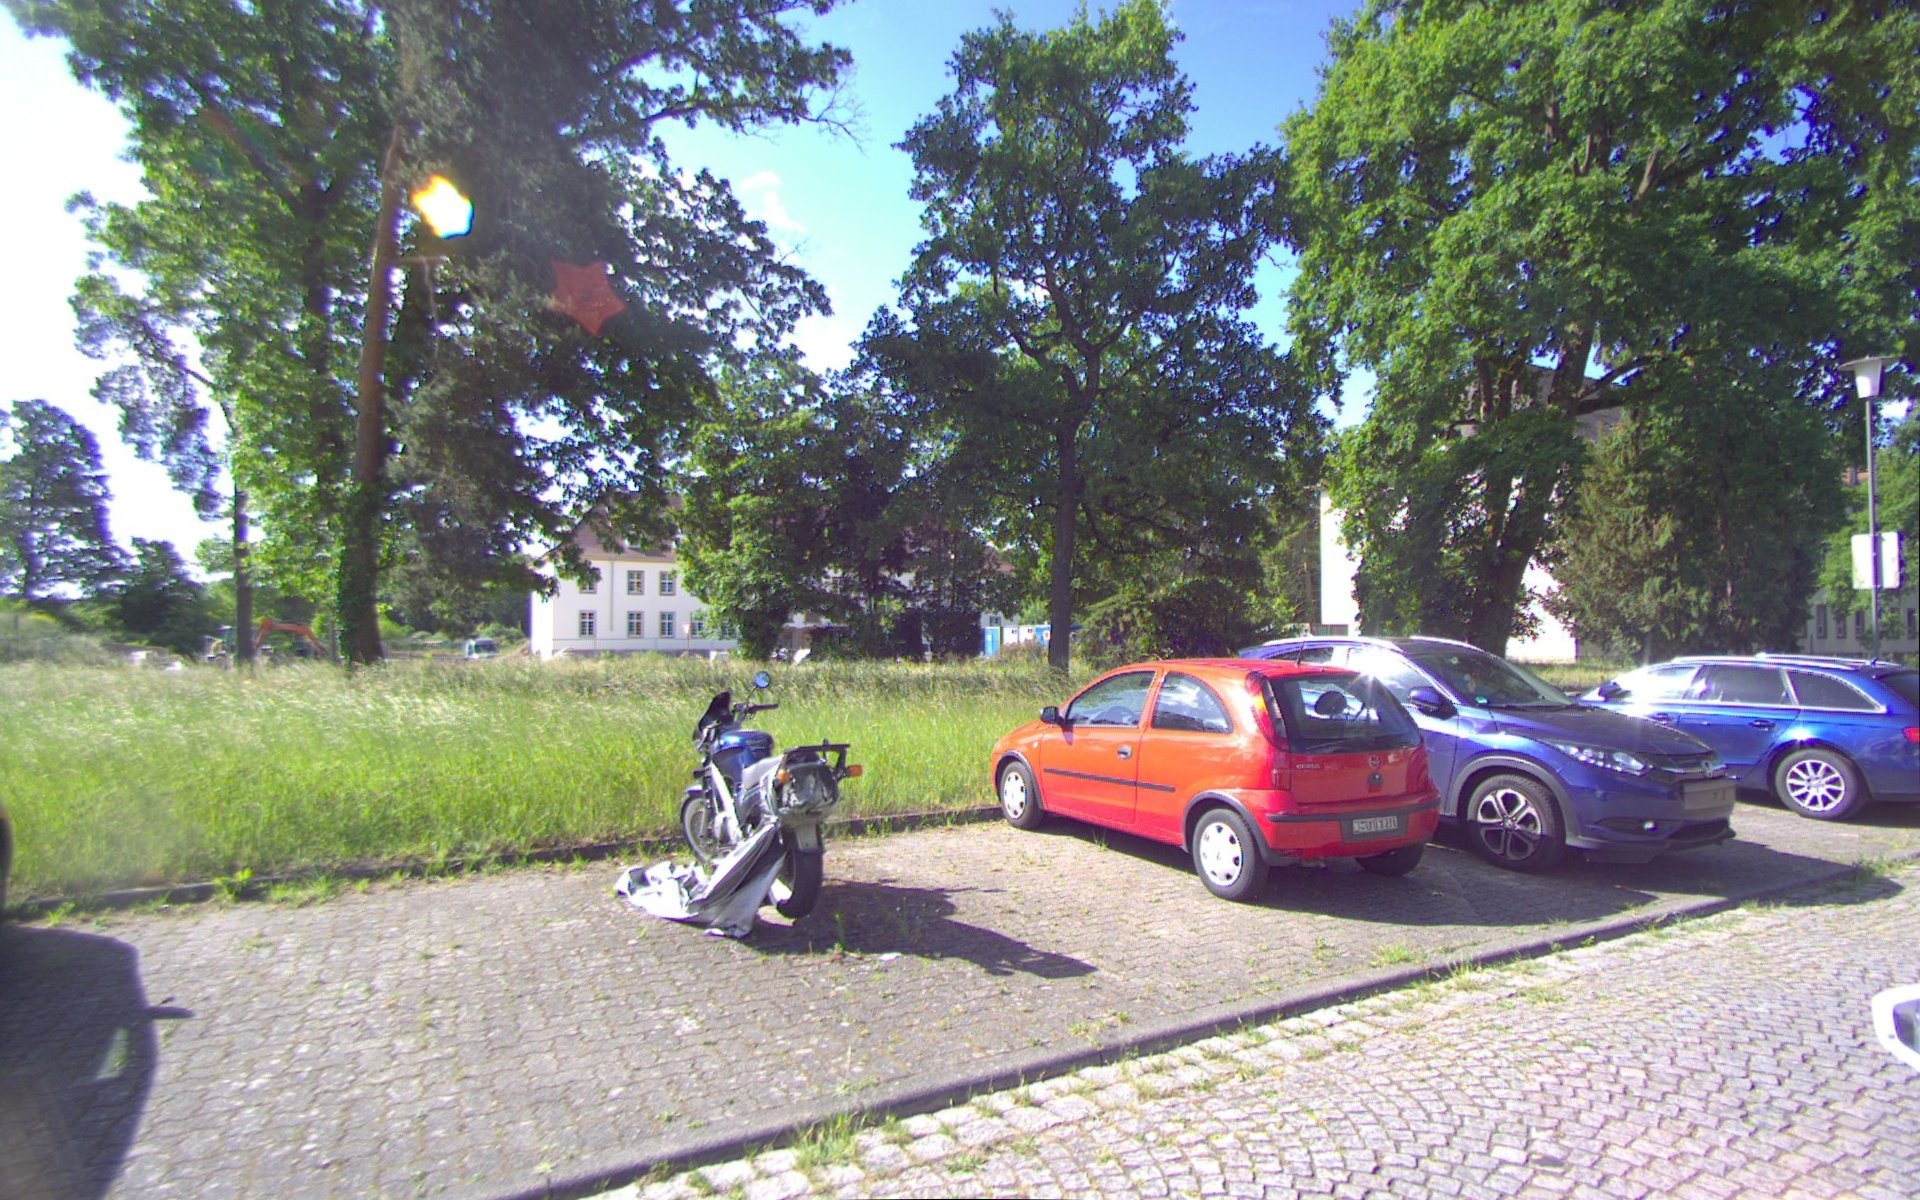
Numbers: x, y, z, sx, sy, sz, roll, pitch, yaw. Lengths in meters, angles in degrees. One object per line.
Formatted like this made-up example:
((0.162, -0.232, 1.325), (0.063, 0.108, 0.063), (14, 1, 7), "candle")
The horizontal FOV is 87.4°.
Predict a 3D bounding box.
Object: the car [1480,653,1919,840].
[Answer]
((8.057, 1.340, 10.565), (1.895, 1.464, 4.346), (1, -2, -26), "car")

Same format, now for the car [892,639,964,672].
((-2.439, 4.224, 77.263), (5.211, 2.468, 1.976), (1, -3, -29), "car")

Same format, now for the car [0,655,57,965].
((-4.924, 0.999, 3.506), (1.820, 1.480, 3.905), (1, -1, -30), "car")

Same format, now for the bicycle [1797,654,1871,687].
((30.764, 2.472, 35.379), (1.887, 1.117, 0.569), (-2, -1, 34), "bicycle")

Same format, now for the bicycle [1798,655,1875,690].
((29.897, 2.459, 34.279), (1.887, 1.117, 0.569), (-2, -1, 34), "bicycle")

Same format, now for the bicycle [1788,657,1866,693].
((28.621, 2.466, 33.187), (1.889, 1.117, 0.568), (-3, -2, 37), "bicycle")

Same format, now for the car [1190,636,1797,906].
((4.009, 1.114, 8.334), (1.861, 1.600, 4.118), (1, -2, -28), "car")

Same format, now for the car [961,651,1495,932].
((1.694, 1.157, 7.687), (1.818, 1.451, 3.909), (1, -2, -27), "car")

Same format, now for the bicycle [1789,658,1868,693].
((28.296, 2.453, 32.757), (1.889, 1.117, 0.568), (-3, -2, 37), "bicycle")

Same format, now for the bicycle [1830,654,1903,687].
((31.949, 2.472, 35.434), (1.892, 1.117, 0.567), (-2, -2, 43), "bicycle")

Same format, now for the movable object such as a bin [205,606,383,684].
((-34.446, 2.365, 52.153), (3.869, 3.779, 6.767), (-2, -4, 37), "movable object such as a bin")

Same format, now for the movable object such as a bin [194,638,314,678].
((-38.984, 3.205, 55.506), (5.566, 2.153, 2.530), (-1, -3, 17), "movable object such as a bin")

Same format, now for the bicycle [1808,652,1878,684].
((32.651, 2.517, 37.182), (1.889, 1.117, 0.568), (-2, -1, 38), "bicycle")

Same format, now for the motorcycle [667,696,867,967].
((-1.239, 1.231, 6.019), (0.569, 1.177, 2.234), (1, -2, -27), "motorcycle")
